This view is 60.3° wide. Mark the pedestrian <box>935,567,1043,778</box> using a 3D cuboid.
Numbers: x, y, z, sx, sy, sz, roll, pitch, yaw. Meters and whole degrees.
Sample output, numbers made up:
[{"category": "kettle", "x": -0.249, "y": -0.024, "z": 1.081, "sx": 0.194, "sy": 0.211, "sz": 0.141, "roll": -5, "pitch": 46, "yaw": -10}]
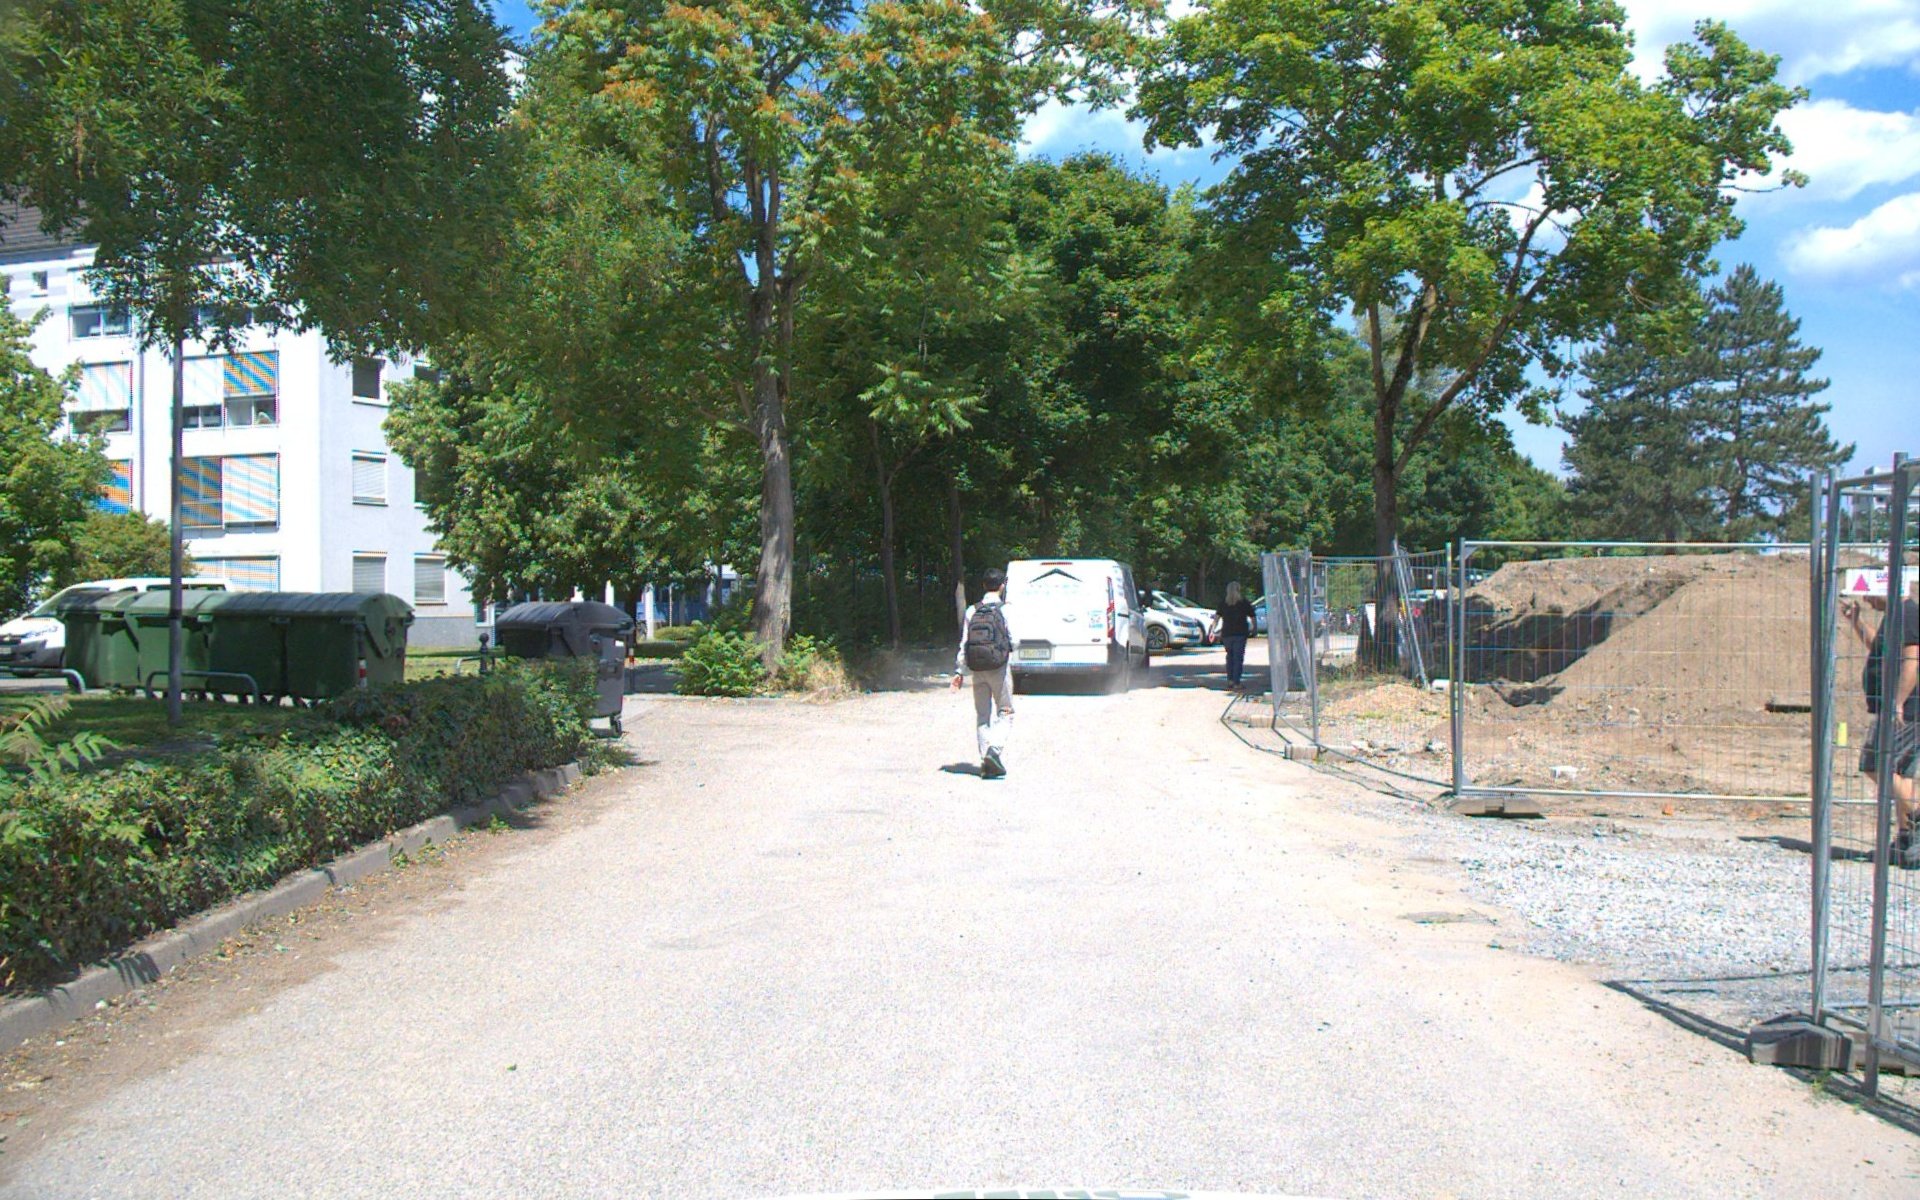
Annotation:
[{"category": "pedestrian", "x": 0.266, "y": 0.598, "z": 14.331, "sx": 0.855, "sy": 1.759, "sz": 1.081, "roll": 0, "pitch": 1, "yaw": 5}]

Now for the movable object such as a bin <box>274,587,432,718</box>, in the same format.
[{"category": "movable object such as a bin", "x": -7.270, "y": 0.606, "z": 19.852, "sx": 1.294, "sy": 1.505, "sz": 1.207, "roll": 0, "pitch": 0, "yaw": 23}]

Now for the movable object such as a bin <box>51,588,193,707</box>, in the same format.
[{"category": "movable object such as a bin", "x": -10.980, "y": 0.597, "z": 21.691, "sx": 1.378, "sy": 1.505, "sz": 1.046, "roll": 0, "pitch": 0, "yaw": 27}]

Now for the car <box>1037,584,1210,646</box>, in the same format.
[{"category": "car", "x": 4.568, "y": 0.429, "z": 46.328, "sx": 4.418, "sy": 1.637, "sz": 1.997, "roll": 0, "pitch": -2, "yaw": 27}]

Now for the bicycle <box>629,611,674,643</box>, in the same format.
[{"category": "bicycle", "x": -10.992, "y": 0.967, "z": 59.076, "sx": 0.587, "sy": 1.103, "sz": 1.939, "roll": 0, "pitch": 0, "yaw": 24}]

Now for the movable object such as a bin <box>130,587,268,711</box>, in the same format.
[{"category": "movable object such as a bin", "x": -9.674, "y": 0.600, "z": 21.040, "sx": 1.233, "sy": 1.505, "sz": 1.046, "roll": 0, "pitch": 0, "yaw": 27}]

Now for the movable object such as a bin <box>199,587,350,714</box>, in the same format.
[{"category": "movable object such as a bin", "x": -8.448, "y": 0.603, "z": 20.420, "sx": 1.327, "sy": 1.505, "sz": 1.097, "roll": 0, "pitch": 0, "yaw": 16}]

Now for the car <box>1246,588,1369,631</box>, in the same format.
[{"category": "car", "x": 13.657, "y": 0.357, "z": 64.969, "sx": 4.417, "sy": 1.625, "sz": 1.935, "roll": 0, "pitch": 0, "yaw": 27}]

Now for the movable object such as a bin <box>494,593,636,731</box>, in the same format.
[{"category": "movable object such as a bin", "x": -4.293, "y": 0.640, "z": 17.967, "sx": 1.106, "sy": 1.418, "sz": 1.143, "roll": -1, "pitch": 0, "yaw": -41}]

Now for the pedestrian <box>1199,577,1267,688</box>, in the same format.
[{"category": "pedestrian", "x": 4.247, "y": 0.492, "z": 25.672, "sx": 1.013, "sy": 1.679, "sz": 1.050, "roll": 0, "pitch": 1, "yaw": 11}]

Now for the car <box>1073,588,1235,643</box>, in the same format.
[{"category": "car", "x": 5.700, "y": 0.417, "z": 48.594, "sx": 4.417, "sy": 1.558, "sz": 1.724, "roll": 0, "pitch": 0, "yaw": 26}]

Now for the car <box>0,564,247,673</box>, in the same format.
[{"category": "car", "x": -17.139, "y": 0.354, "z": 33.581, "sx": 1.954, "sy": 2.049, "sz": 4.770, "roll": -1, "pitch": 0, "yaw": 26}]

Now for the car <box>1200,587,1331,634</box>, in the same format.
[{"category": "car", "x": 11.070, "y": 0.354, "z": 59.981, "sx": 4.417, "sy": 1.625, "sz": 1.724, "roll": 0, "pitch": 1, "yaw": 26}]

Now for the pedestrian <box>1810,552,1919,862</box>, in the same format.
[{"category": "pedestrian", "x": 5.965, "y": 0.637, "z": 10.315, "sx": 0.944, "sy": 1.851, "sz": 0.871, "roll": 0, "pitch": 0, "yaw": 8}]

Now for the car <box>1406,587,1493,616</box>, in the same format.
[{"category": "car", "x": 27.298, "y": 0.083, "z": 92.244, "sx": 4.417, "sy": 1.625, "sz": 1.724, "roll": 0, "pitch": 0, "yaw": 26}]

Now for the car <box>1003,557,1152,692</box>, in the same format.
[{"category": "car", "x": 1.978, "y": 0.346, "z": 26.553, "sx": 1.931, "sy": 1.981, "sz": 4.585, "roll": 0, "pitch": 0, "yaw": 10}]

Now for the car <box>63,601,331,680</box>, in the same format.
[{"category": "car", "x": -14.633, "y": 0.727, "z": 32.014, "sx": 1.792, "sy": 1.376, "sz": 4.622, "roll": 0, "pitch": 0, "yaw": 26}]
